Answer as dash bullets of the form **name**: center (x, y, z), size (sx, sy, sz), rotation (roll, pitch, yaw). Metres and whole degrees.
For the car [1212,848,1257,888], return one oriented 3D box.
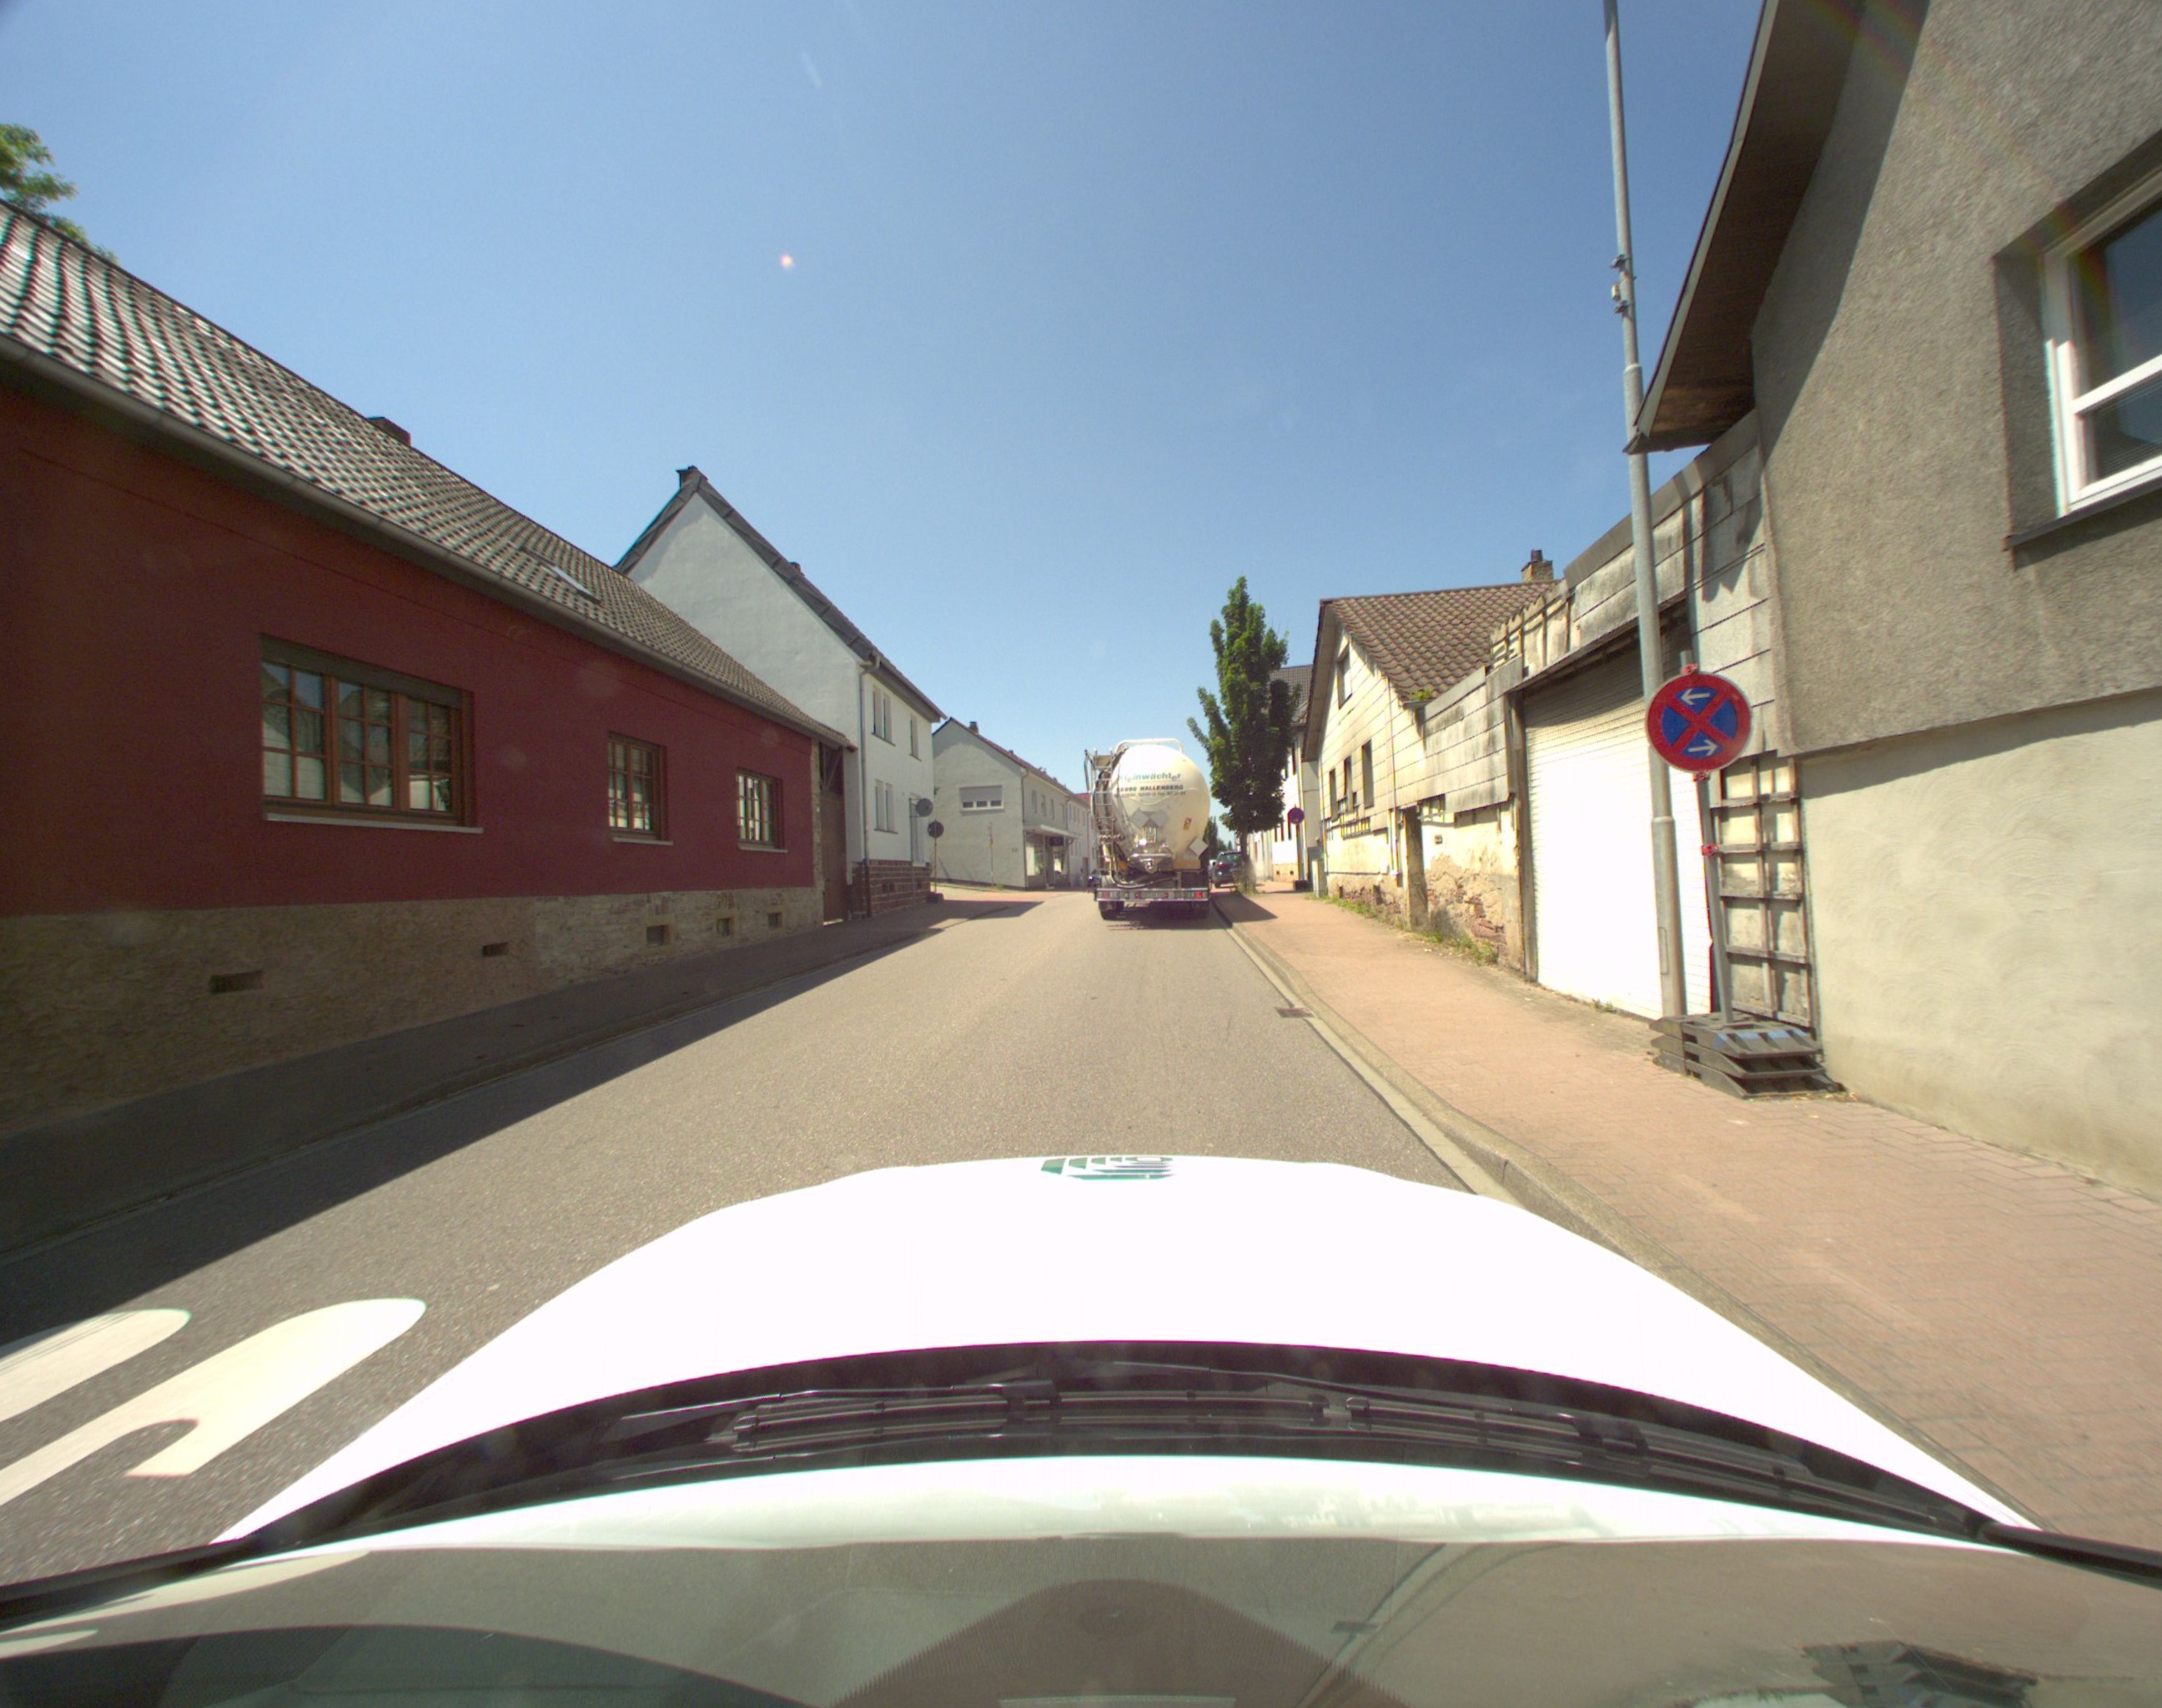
- **car**: center (7.050, 0.620, 37.786), size (1.792, 1.614, 4.559), rotation (-5, -1, 8)

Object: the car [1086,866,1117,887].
- **car**: center (1.650, 1.711, 62.689), size (1.798, 1.557, 4.575), rotation (-1, -1, 9)

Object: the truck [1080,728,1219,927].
- **truck**: center (1.813, -0.483, 20.337), size (2.718, 3.960, 8.156), rotation (-1, -1, 6)

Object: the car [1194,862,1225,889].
- **car**: center (7.905, 1.312, 50.177), size (1.691, 1.447, 4.847), rotation (-6, -2, 8)

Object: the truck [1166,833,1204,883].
- **truck**: center (9.108, 0.307, 71.631), size (2.948, 4.069, 9.300), rotation (-2, 0, 7)

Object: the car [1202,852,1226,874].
- **car**: center (12.635, 0.883, 77.661), size (1.936, 1.970, 4.793), rotation (-4, -2, 7)
